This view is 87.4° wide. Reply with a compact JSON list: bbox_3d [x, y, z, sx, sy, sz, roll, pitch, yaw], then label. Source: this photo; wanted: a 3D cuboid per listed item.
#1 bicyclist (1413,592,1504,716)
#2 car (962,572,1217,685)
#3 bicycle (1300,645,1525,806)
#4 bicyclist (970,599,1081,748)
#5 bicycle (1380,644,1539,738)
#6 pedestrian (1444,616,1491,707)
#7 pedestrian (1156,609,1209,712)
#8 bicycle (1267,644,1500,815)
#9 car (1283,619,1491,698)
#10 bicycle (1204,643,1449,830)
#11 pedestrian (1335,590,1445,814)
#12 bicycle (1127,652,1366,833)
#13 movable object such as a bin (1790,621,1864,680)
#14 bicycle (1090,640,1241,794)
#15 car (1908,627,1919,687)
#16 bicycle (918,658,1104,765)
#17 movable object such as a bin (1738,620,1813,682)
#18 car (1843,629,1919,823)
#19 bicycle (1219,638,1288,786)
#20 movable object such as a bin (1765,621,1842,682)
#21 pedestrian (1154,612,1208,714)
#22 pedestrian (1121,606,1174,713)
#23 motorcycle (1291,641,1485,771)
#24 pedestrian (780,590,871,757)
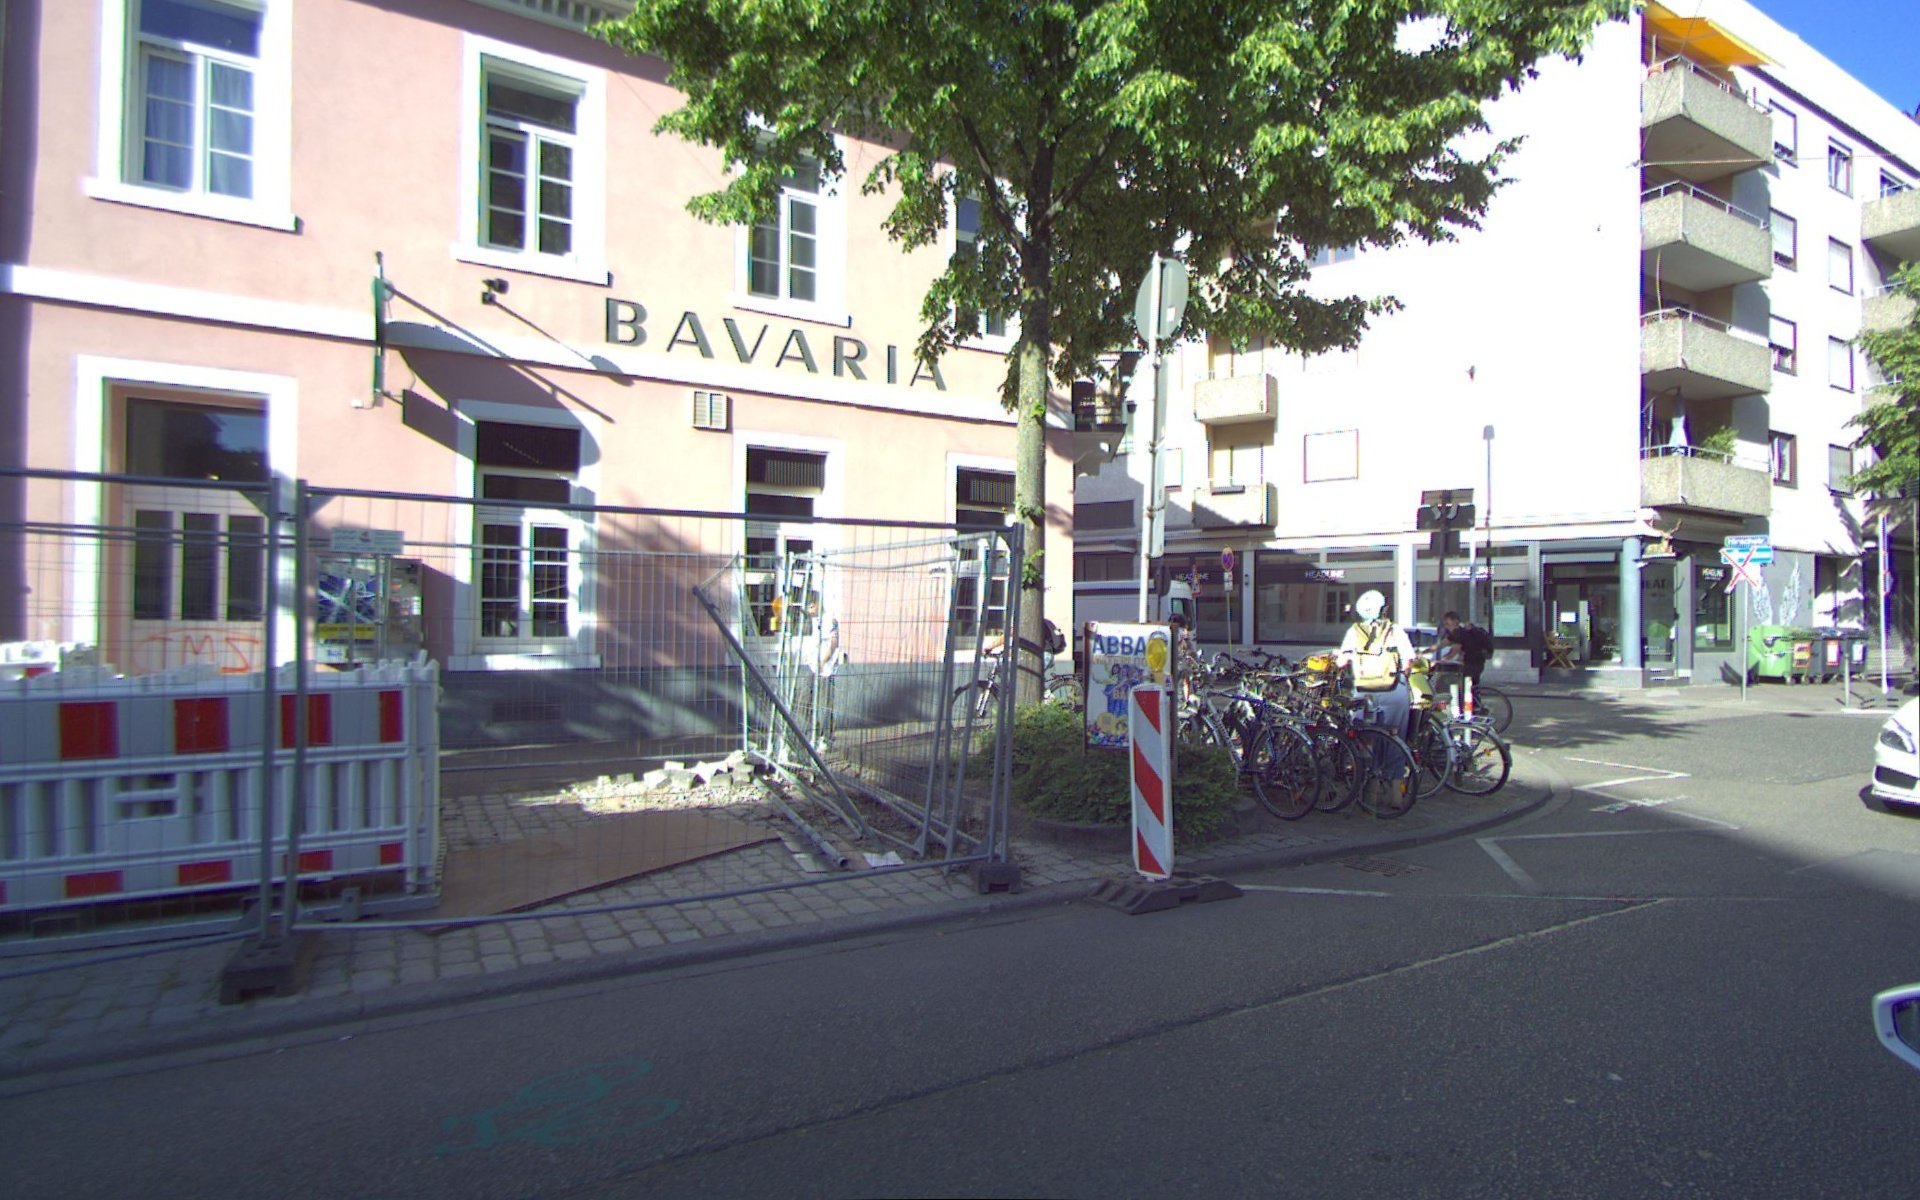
[{"bbox_3d":[7.157,0.760,14.452,1.136,1.715,0.720,-1,-1,27],"label":"bicyclist"},{"bbox_3d":[3.481,0.776,27.681,6.391,2.754,2.900,-1,-2,35],"label":"car"},{"bbox_3d":[4.129,1.085,9.295,0.595,1.269,1.841,1,0,-37],"label":"bicycle"},{"bbox_3d":[0.723,0.789,11.208,1.025,1.581,0.765,1,-1,-21],"label":"bicyclist"},{"bbox_3d":[7.151,1.272,14.447,1.998,1.236,0.720,-1,-1,27],"label":"bicycle"},{"bbox_3d":[9.435,1.129,18.703,0.676,1.664,0.773,-1,-1,20],"label":"pedestrian"},{"bbox_3d":[3.932,1.051,17.770,0.651,1.783,0.649,1,-1,-38],"label":"pedestrian"},{"bbox_3d":[3.659,1.061,8.840,0.595,1.269,1.841,1,0,-37],"label":"bicycle"},{"bbox_3d":[9.598,1.274,22.691,3.939,1.632,1.991,-2,-2,39],"label":"car"},{"bbox_3d":[2.901,1.024,8.143,0.595,1.269,1.841,1,0,-37],"label":"bicycle"},{"bbox_3d":[3.565,0.793,8.308,0.780,1.730,0.766,1,0,27],"label":"pedestrian"},{"bbox_3d":[2.218,1.055,8.002,0.595,1.186,1.841,1,0,-37],"label":"bicycle"},{"bbox_3d":[22.933,1.312,26.579,1.300,1.504,1.165,1,-1,-32],"label":"movable object such as a bin"},{"bbox_3d":[1.902,1.042,9.569,0.591,1.269,1.786,1,0,-18],"label":"bicycle"},{"bbox_3d":[24.377,1.308,22.671,1.977,1.408,3.967,1,-2,-31],"label":"car"},{"bbox_3d":[0.566,1.198,11.165,1.926,1.073,0.765,1,-1,-21],"label":"bicycle"},{"bbox_3d":[20.309,1.246,25.024,1.222,1.504,1.134,1,-1,-32],"label":"movable object such as a bin"},{"bbox_3d":[9.339,0.993,8.371,4.359,1.454,1.793,1,-1,-32],"label":"car"},{"bbox_3d":[2.923,1.045,9.971,0.588,1.269,1.794,1,0,17],"label":"bicycle"},{"bbox_3d":[21.581,1.290,25.698,1.300,1.504,1.165,1,-1,-32],"label":"movable object such as a bin"},{"bbox_3d":[3.751,1.058,17.050,0.646,1.689,0.654,0,-1,-20],"label":"pedestrian"},{"bbox_3d":[3.198,1.001,17.132,0.646,1.783,0.654,-1,-1,42],"label":"pedestrian"},{"bbox_3d":[4.692,1.115,11.112,0.751,1.246,1.836,1,0,-41],"label":"motorcycle"},{"bbox_3d":[-1.418,0.752,10.560,0.803,1.675,0.608,1,-2,-27],"label":"pedestrian"}]
